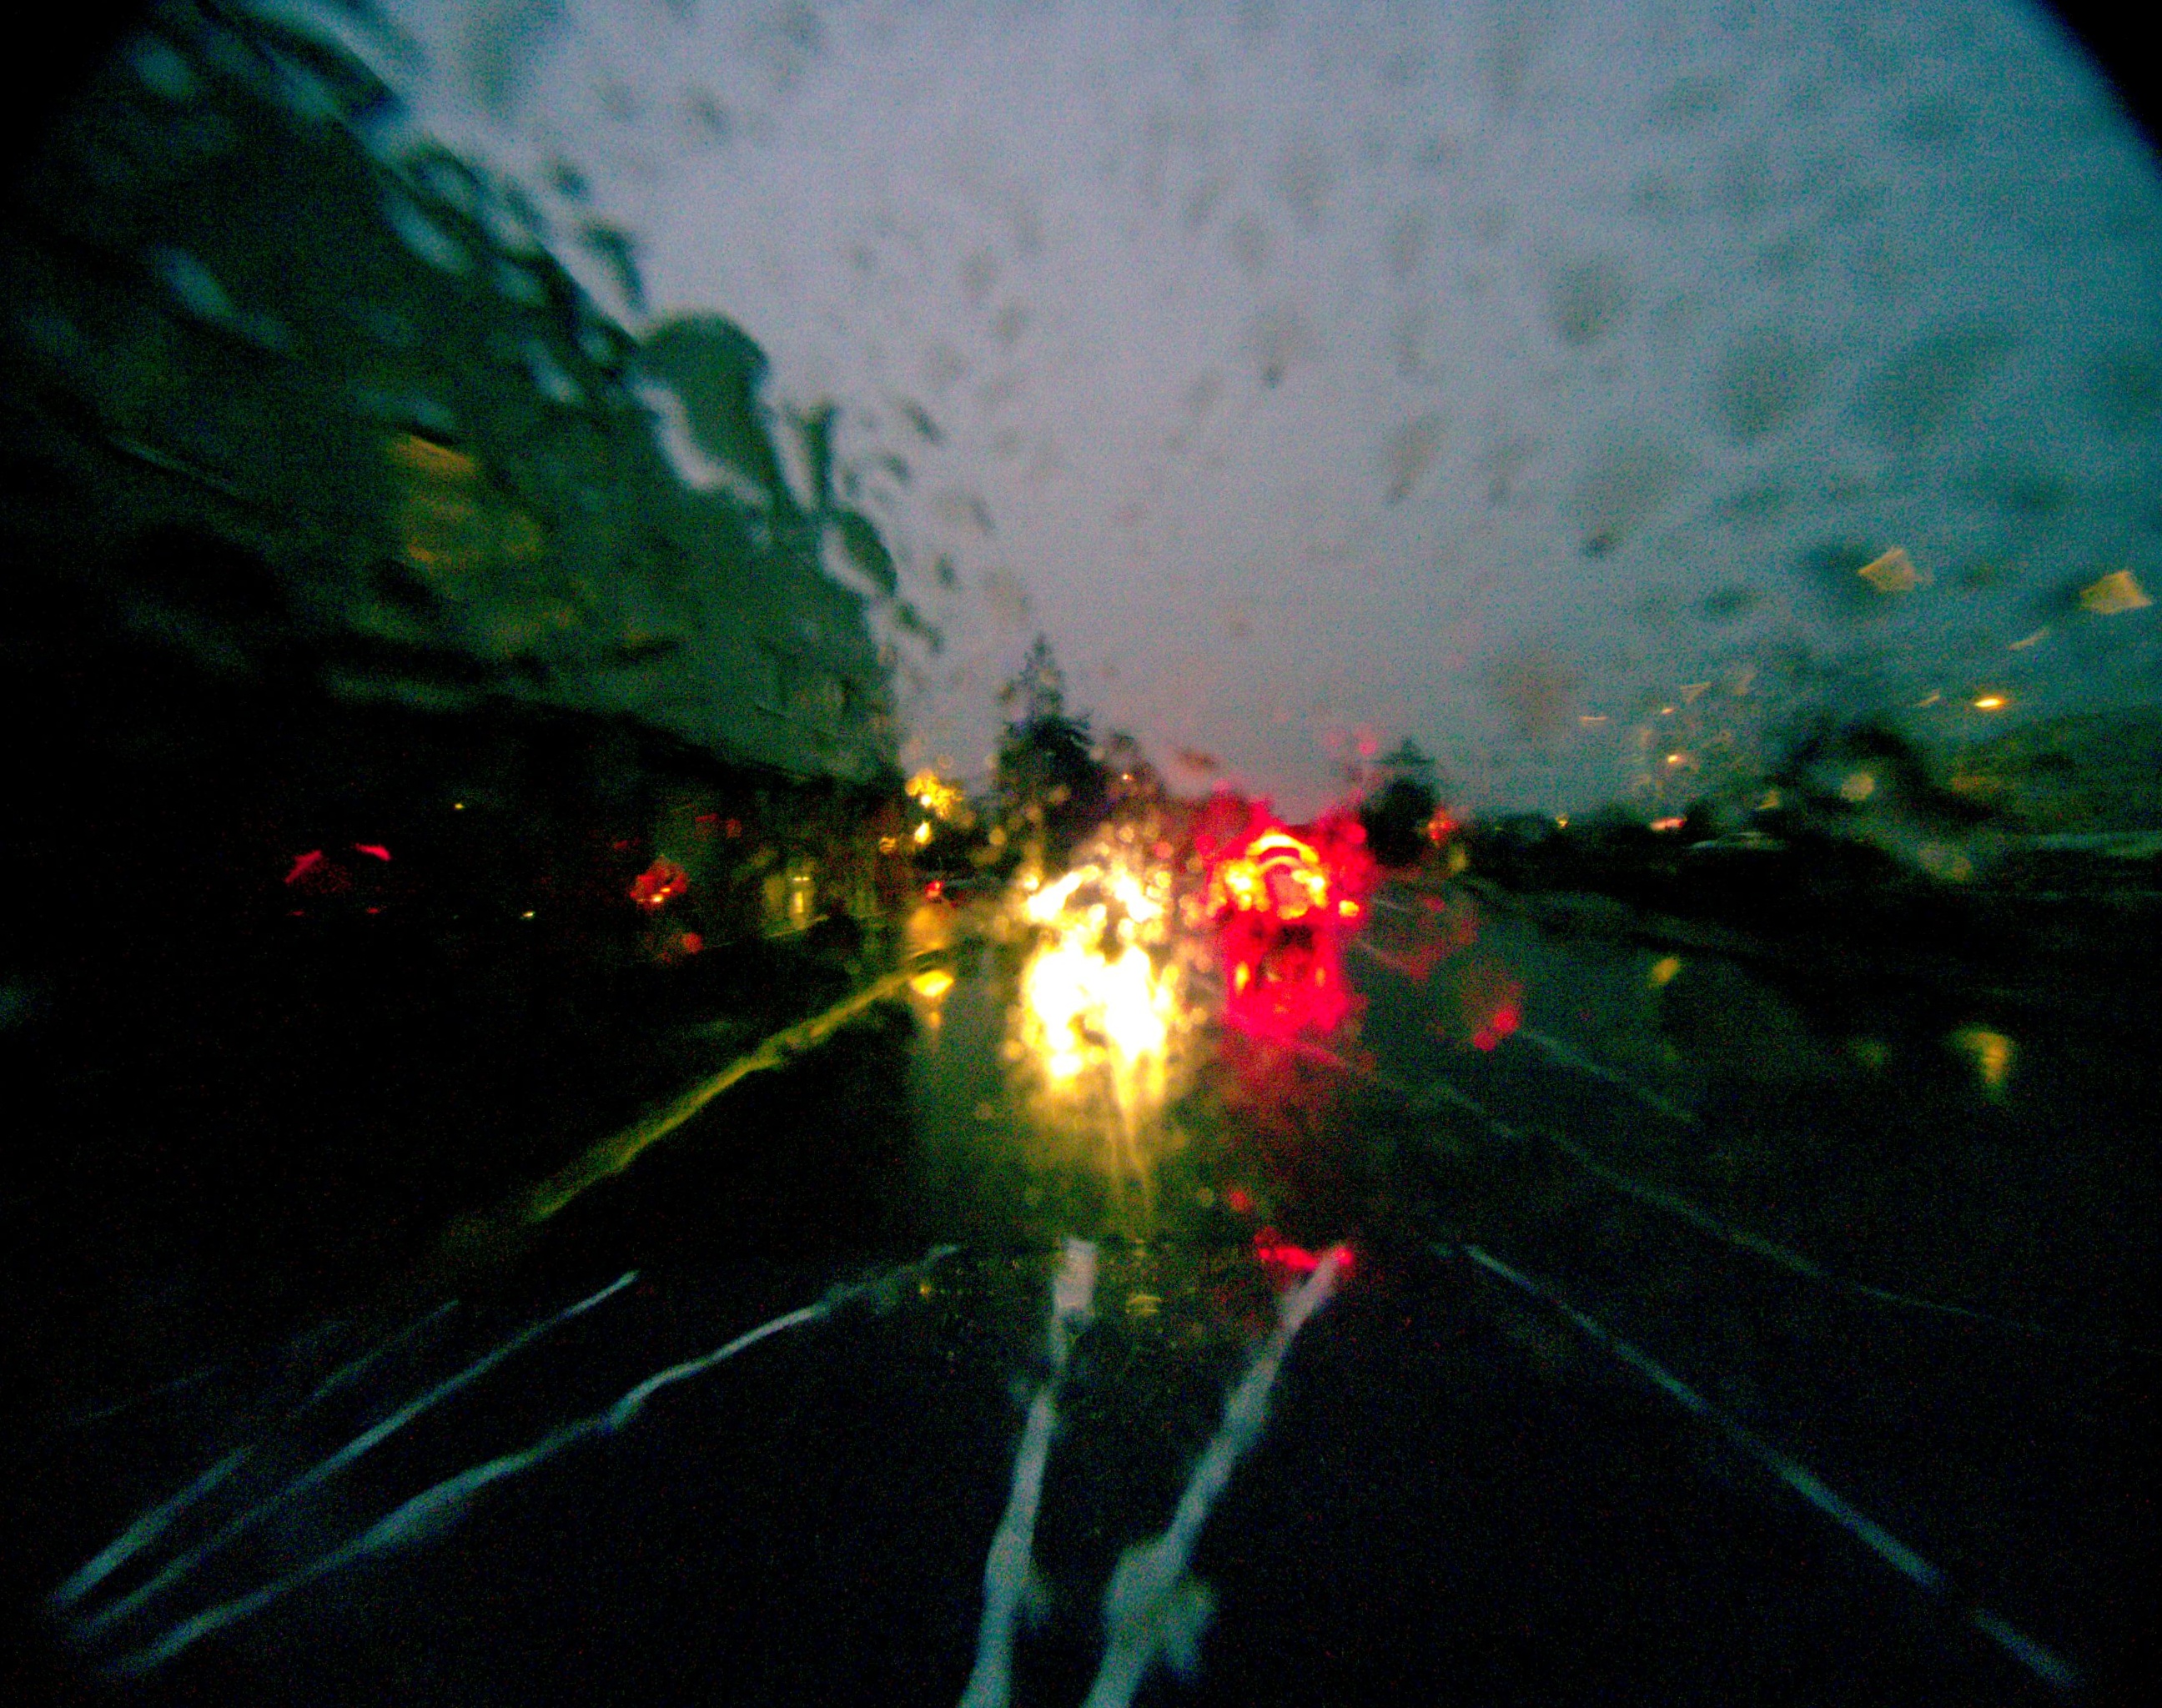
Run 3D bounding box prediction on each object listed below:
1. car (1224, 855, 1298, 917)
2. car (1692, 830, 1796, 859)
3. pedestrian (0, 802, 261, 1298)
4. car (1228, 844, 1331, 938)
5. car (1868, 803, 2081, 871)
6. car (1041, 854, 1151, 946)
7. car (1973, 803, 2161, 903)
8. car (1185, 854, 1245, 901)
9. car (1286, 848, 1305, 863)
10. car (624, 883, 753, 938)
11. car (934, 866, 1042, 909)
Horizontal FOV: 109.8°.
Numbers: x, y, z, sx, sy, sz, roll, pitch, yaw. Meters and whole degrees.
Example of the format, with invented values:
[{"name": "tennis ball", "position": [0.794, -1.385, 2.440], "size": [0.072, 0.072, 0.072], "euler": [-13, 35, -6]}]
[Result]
[{"name": "car", "position": [4.949, 0.827, 21.236], "size": [1.774, 1.486, 4.046], "euler": [-2, 0, 11]}, {"name": "car", "position": [37.610, -0.521, 43.286], "size": [1.687, 1.528, 4.785], "euler": [-2, 0, 0]}, {"name": "pedestrian", "position": [-4.650, 0.735, 3.066], "size": [1.257, 1.855, 1.304], "euler": [0, 0, 5]}, {"name": "car", "position": [4.148, 0.698, 16.494], "size": [1.774, 1.713, 4.425], "euler": [-2, 0, 10]}, {"name": "car", "position": [31.624, -0.563, 27.009], "size": [5.200, 2.269, 2.218], "euler": [-1, -1, -4]}, {"name": "car", "position": [0.470, 0.850, 16.163], "size": [1.775, 1.632, 4.424], "euler": [-2, 0, 8]}, {"name": "car", "position": [20.380, -0.083, 14.427], "size": [4.784, 1.701, 2.032], "euler": [-2, 0, -5]}, {"name": "car", "position": [4.889, 0.789, 27.367], "size": [1.665, 1.477, 4.004], "euler": [-2, 0, 16]}, {"name": "car", "position": [28.019, 0.215, 99.057], "size": [1.945, 1.795, 4.178], "euler": [-3, 0, 20]}, {"name": "car", "position": [-15.986, 2.283, 31.157], "size": [4.130, 1.777, 2.046], "euler": [-5, 0, -9]}, {"name": "car", "position": [-3.853, 1.396, 32.088], "size": [4.180, 1.432, 1.798], "euler": [-5, -1, 2]}]
